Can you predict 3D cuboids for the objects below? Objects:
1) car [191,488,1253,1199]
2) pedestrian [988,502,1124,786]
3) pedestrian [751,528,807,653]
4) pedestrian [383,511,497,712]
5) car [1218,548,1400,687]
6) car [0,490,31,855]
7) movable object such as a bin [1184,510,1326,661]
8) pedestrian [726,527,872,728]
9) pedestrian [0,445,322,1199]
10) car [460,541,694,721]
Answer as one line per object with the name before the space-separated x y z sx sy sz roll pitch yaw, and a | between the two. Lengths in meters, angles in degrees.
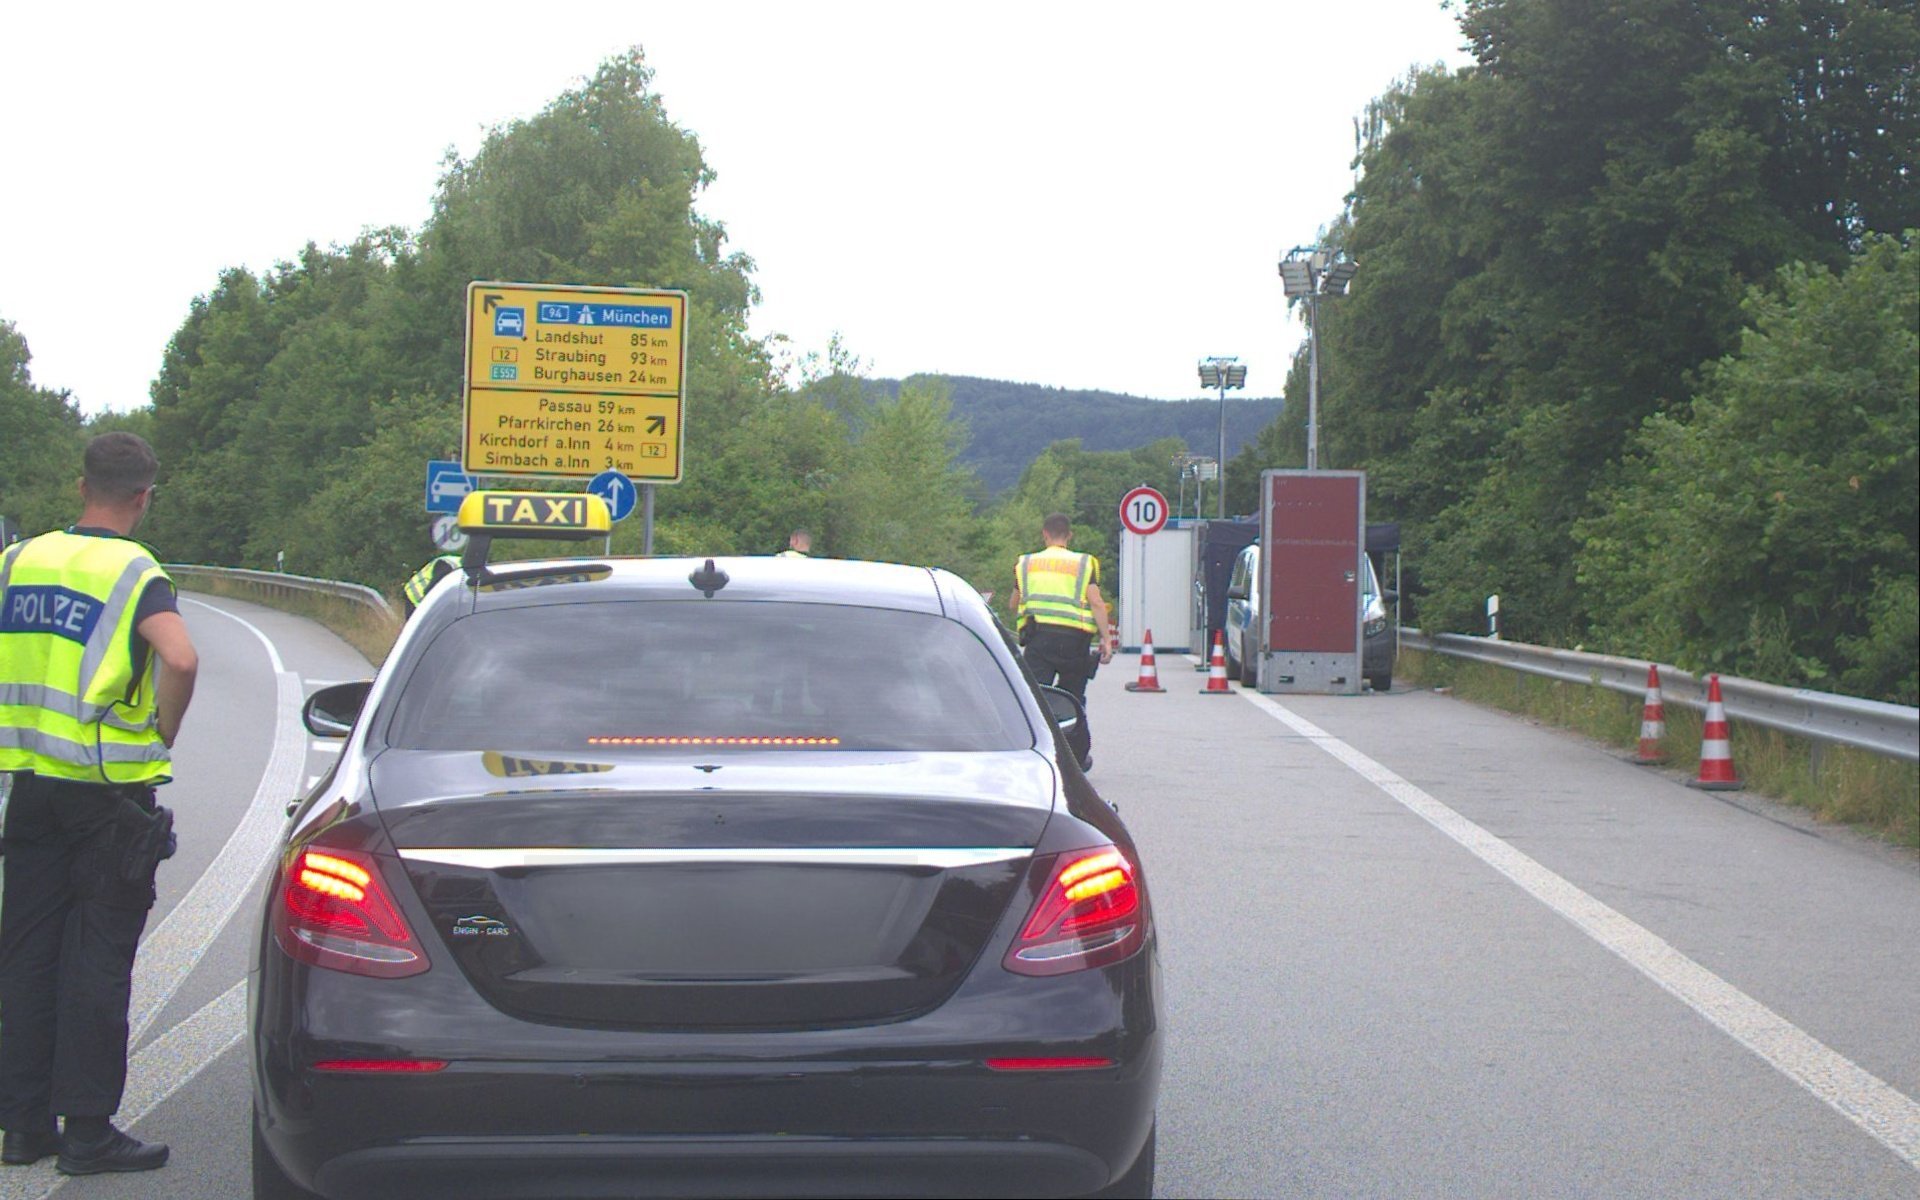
car | -0.607 0.570 8.220 1.855 1.589 4.376 0 1 -5
pedestrian | 0.637 0.276 22.551 0.812 1.824 0.809 0 1 8
pedestrian | -2.846 -0.149 54.128 0.664 1.954 0.759 0 1 15
pedestrian | -4.646 0.095 30.754 0.910 1.763 0.912 1 1 -3
car | 4.581 0.178 45.787 1.916 1.672 5.083 2 1 1
car | -5.406 0.362 15.059 1.868 1.737 4.009 0 1 -4
movable object such as a bin | 4.639 -0.254 54.626 1.993 2.272 4.168 1 1 2
pedestrian | -1.389 0.230 29.611 0.908 1.692 0.914 0 0 -32
pedestrian | -2.059 0.511 8.043 0.761 1.712 0.816 1 1 37
car | -3.352 0.223 30.772 1.855 1.493 4.257 0 1 -3
